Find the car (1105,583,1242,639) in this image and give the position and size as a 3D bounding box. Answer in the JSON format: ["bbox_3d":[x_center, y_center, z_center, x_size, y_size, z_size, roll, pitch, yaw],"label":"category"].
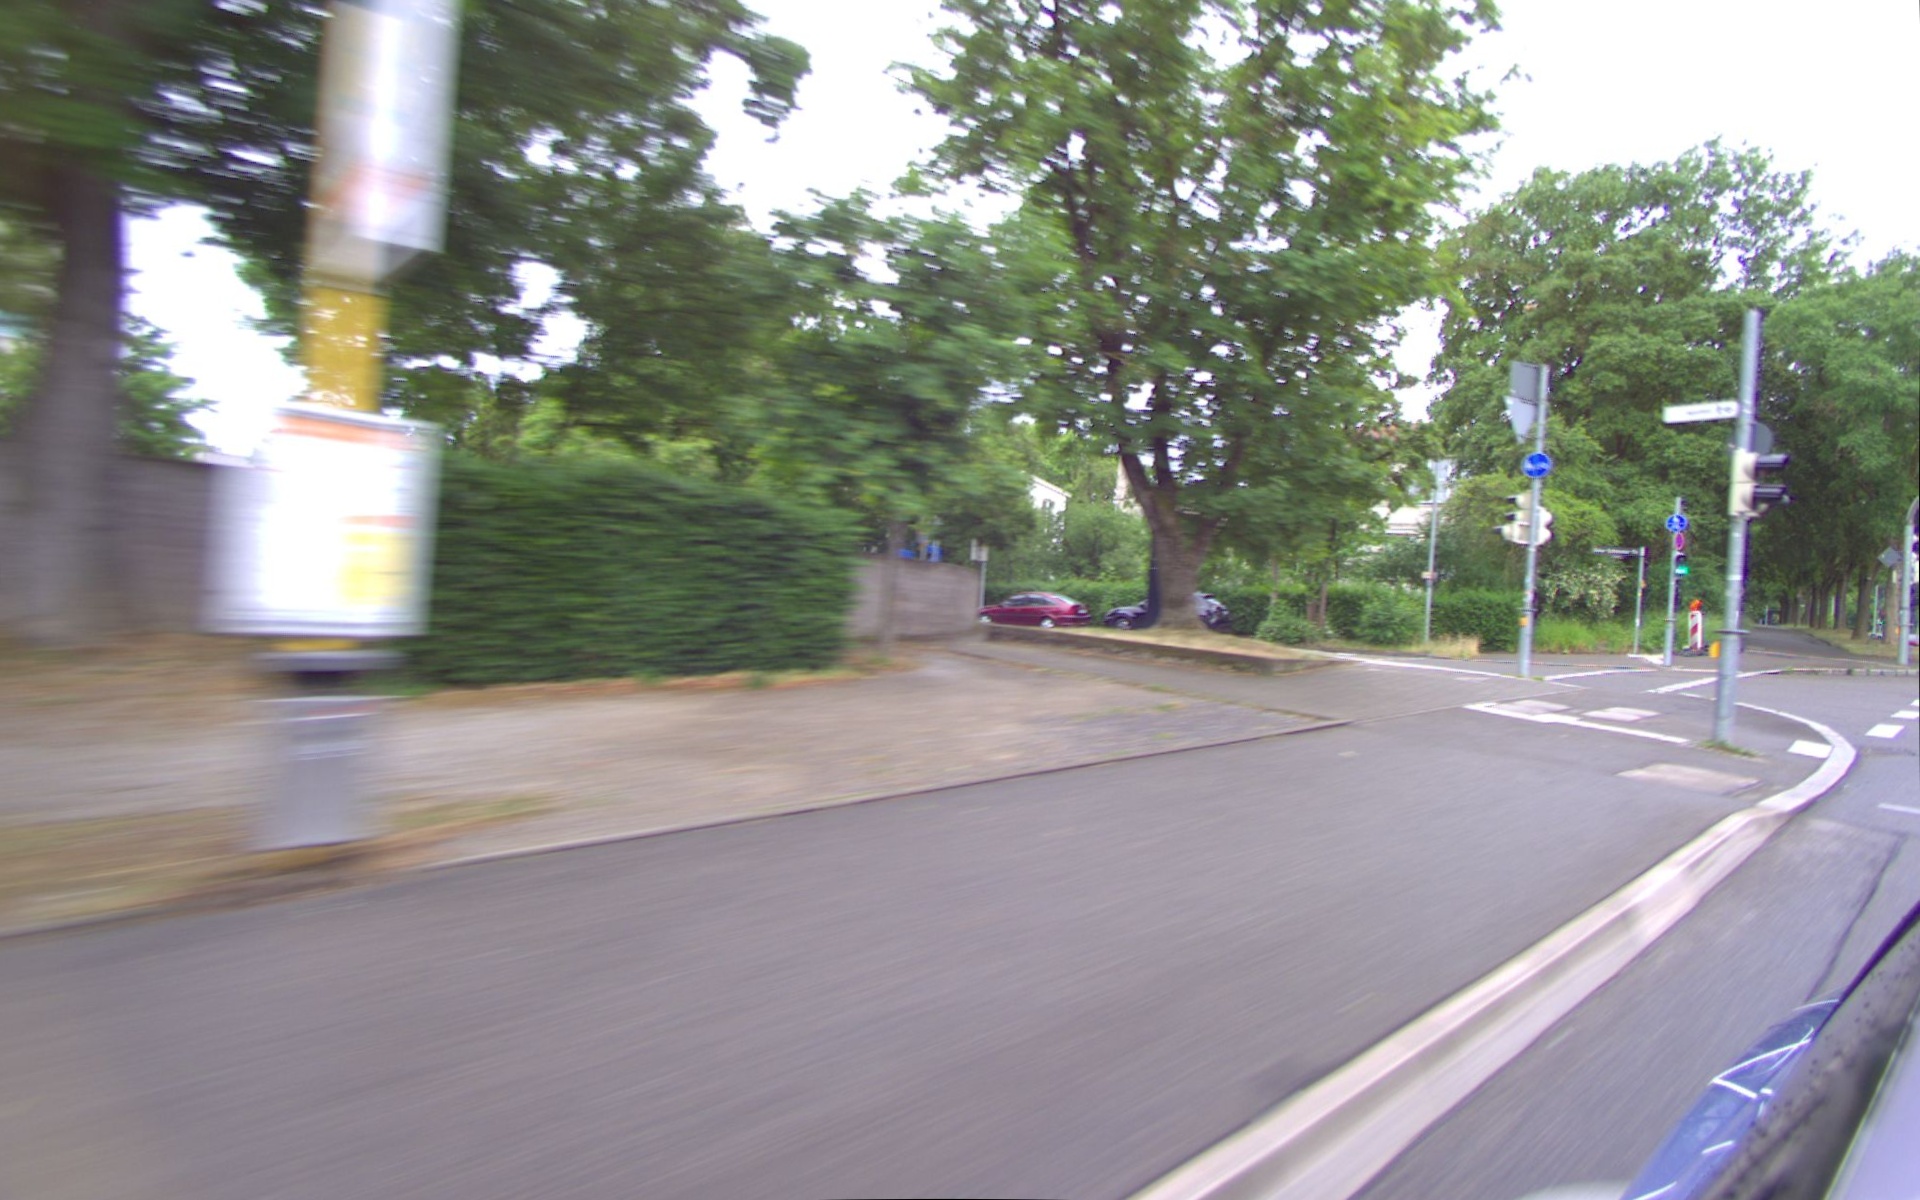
[{"bbox_3d":[6.820,0.321,32.457,3.876,1.567,1.860,3,1,32],"label":"car"}]

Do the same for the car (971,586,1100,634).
[{"bbox_3d":[2.612,0.323,35.276,4.076,1.411,1.824,3,1,33],"label":"car"}]
